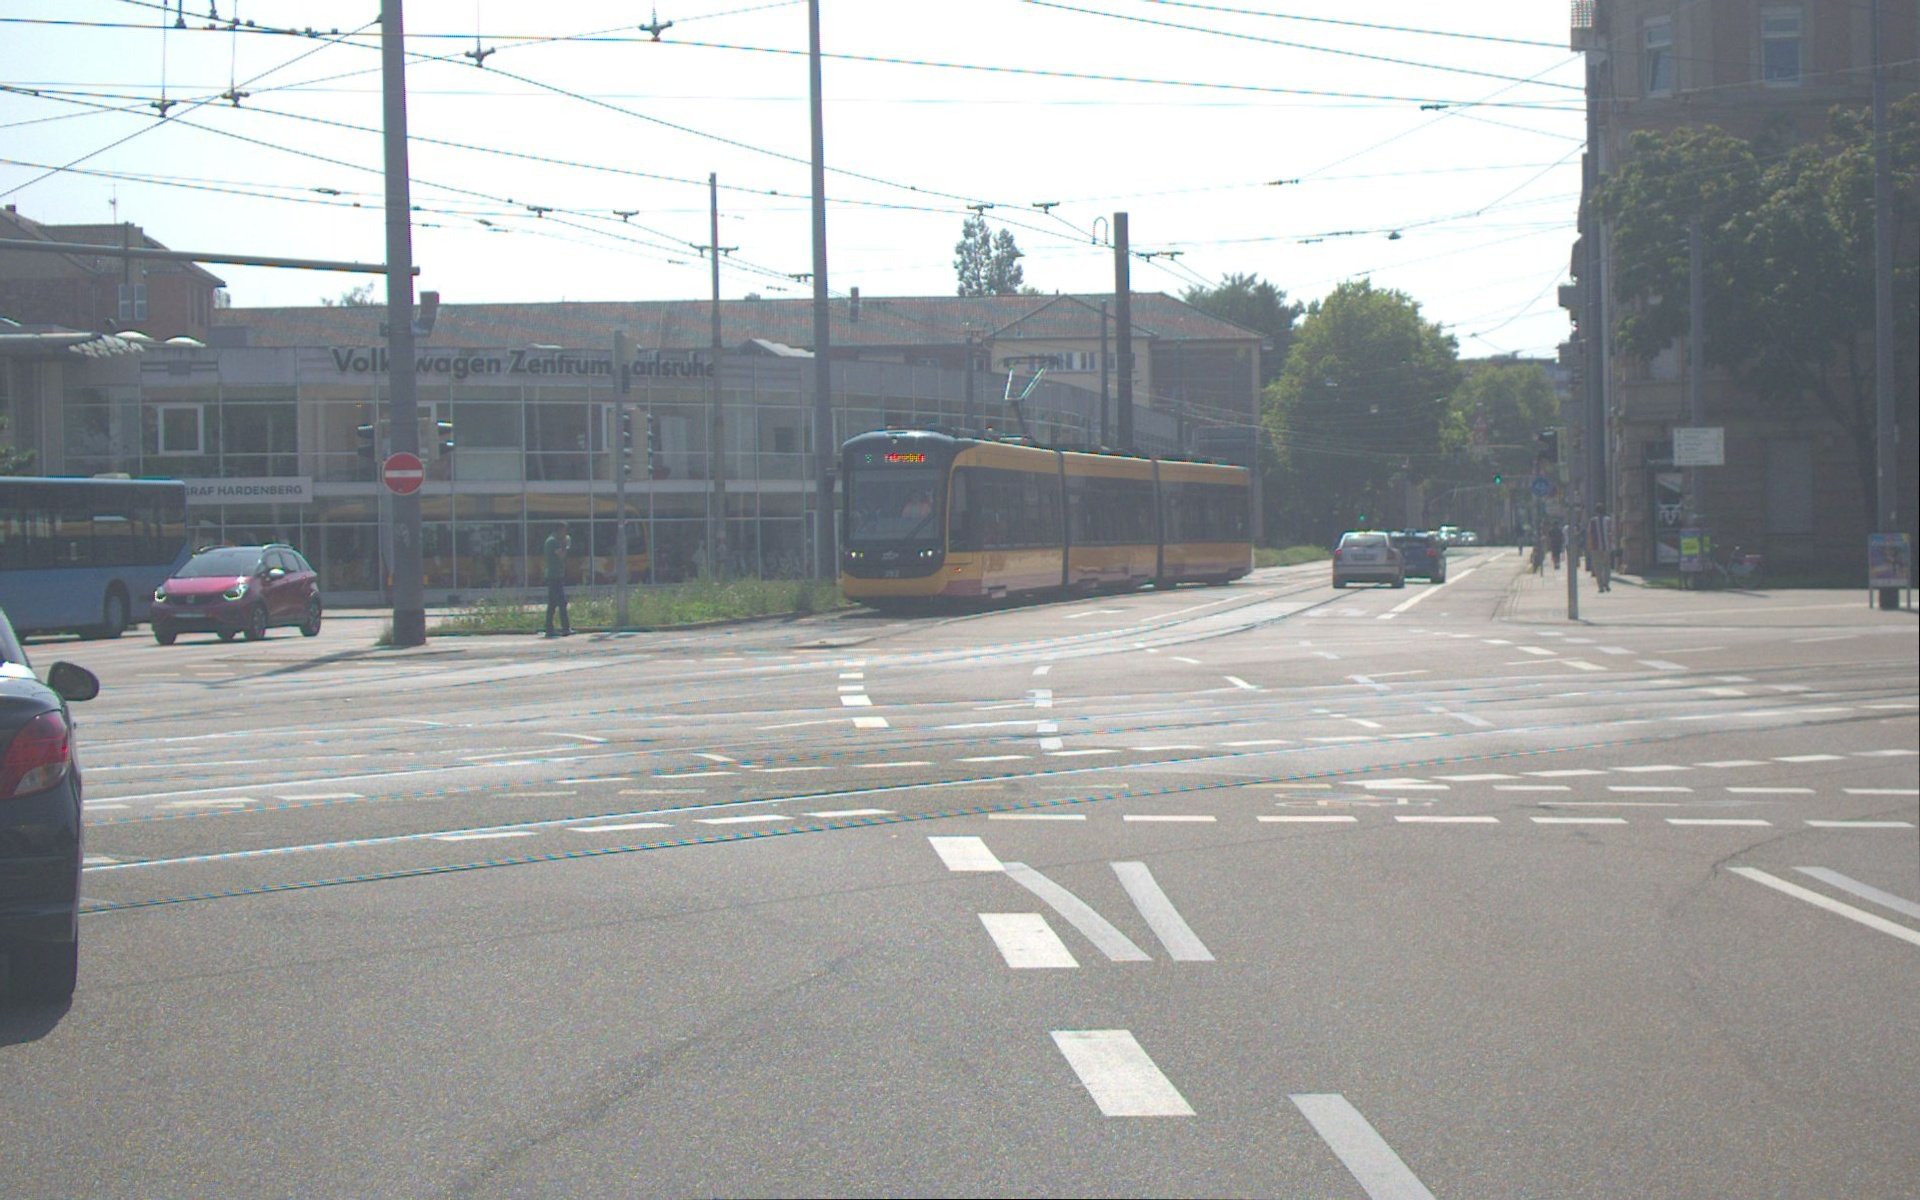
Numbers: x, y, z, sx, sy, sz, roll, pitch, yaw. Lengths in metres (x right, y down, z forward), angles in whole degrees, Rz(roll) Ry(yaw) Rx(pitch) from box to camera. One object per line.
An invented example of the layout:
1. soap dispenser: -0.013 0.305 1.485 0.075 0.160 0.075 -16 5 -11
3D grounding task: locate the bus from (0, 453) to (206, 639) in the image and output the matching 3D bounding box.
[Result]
1. bus: -16.679 -0.913 58.949 2.563 3.072 12.017 -1 1 12

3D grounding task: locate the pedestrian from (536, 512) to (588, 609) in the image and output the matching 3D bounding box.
1. pedestrian: -6.018 -0.600 51.969 0.676 1.438 0.366 -1 1 -22

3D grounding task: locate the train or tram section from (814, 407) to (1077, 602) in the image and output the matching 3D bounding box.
1. train or tram section: -0.096 -1.834 67.810 2.590 3.504 10.892 -1 1 14

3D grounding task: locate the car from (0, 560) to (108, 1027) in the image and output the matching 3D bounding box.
1. car: -3.921 0.559 12.078 1.765 1.383 3.782 0 1 -14

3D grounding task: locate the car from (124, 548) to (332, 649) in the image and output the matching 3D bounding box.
1. car: -11.894 -0.048 56.116 1.751 1.546 3.998 -1 1 13

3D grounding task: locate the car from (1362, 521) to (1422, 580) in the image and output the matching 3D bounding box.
1. car: 12.330 -1.418 98.169 1.637 1.612 3.999 -1 1 7

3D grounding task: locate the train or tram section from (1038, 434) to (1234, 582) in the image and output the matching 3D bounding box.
1. train or tram section: 4.689 -2.316 88.265 2.590 3.504 12.965 -1 1 14

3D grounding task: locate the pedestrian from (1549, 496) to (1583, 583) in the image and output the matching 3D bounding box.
1. pedestrian: 21.254 -2.126 120.572 0.983 3.007 0.974 -1 1 2

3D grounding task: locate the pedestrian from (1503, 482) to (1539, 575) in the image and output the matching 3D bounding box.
1. pedestrian: 18.258 -2.338 111.993 0.983 3.007 0.975 -1 1 1

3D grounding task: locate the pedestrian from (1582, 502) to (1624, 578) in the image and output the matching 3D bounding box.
1. pedestrian: 13.710 -1.280 73.314 0.699 1.597 0.573 -1 1 -12

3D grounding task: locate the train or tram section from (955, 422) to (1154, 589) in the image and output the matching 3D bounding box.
1. train or tram section: 2.262 -2.097 77.714 2.590 3.504 9.653 -1 1 13

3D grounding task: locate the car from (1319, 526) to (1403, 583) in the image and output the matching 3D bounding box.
1. car: 10.417 -1.184 89.171 1.771 1.411 4.187 -1 1 12
